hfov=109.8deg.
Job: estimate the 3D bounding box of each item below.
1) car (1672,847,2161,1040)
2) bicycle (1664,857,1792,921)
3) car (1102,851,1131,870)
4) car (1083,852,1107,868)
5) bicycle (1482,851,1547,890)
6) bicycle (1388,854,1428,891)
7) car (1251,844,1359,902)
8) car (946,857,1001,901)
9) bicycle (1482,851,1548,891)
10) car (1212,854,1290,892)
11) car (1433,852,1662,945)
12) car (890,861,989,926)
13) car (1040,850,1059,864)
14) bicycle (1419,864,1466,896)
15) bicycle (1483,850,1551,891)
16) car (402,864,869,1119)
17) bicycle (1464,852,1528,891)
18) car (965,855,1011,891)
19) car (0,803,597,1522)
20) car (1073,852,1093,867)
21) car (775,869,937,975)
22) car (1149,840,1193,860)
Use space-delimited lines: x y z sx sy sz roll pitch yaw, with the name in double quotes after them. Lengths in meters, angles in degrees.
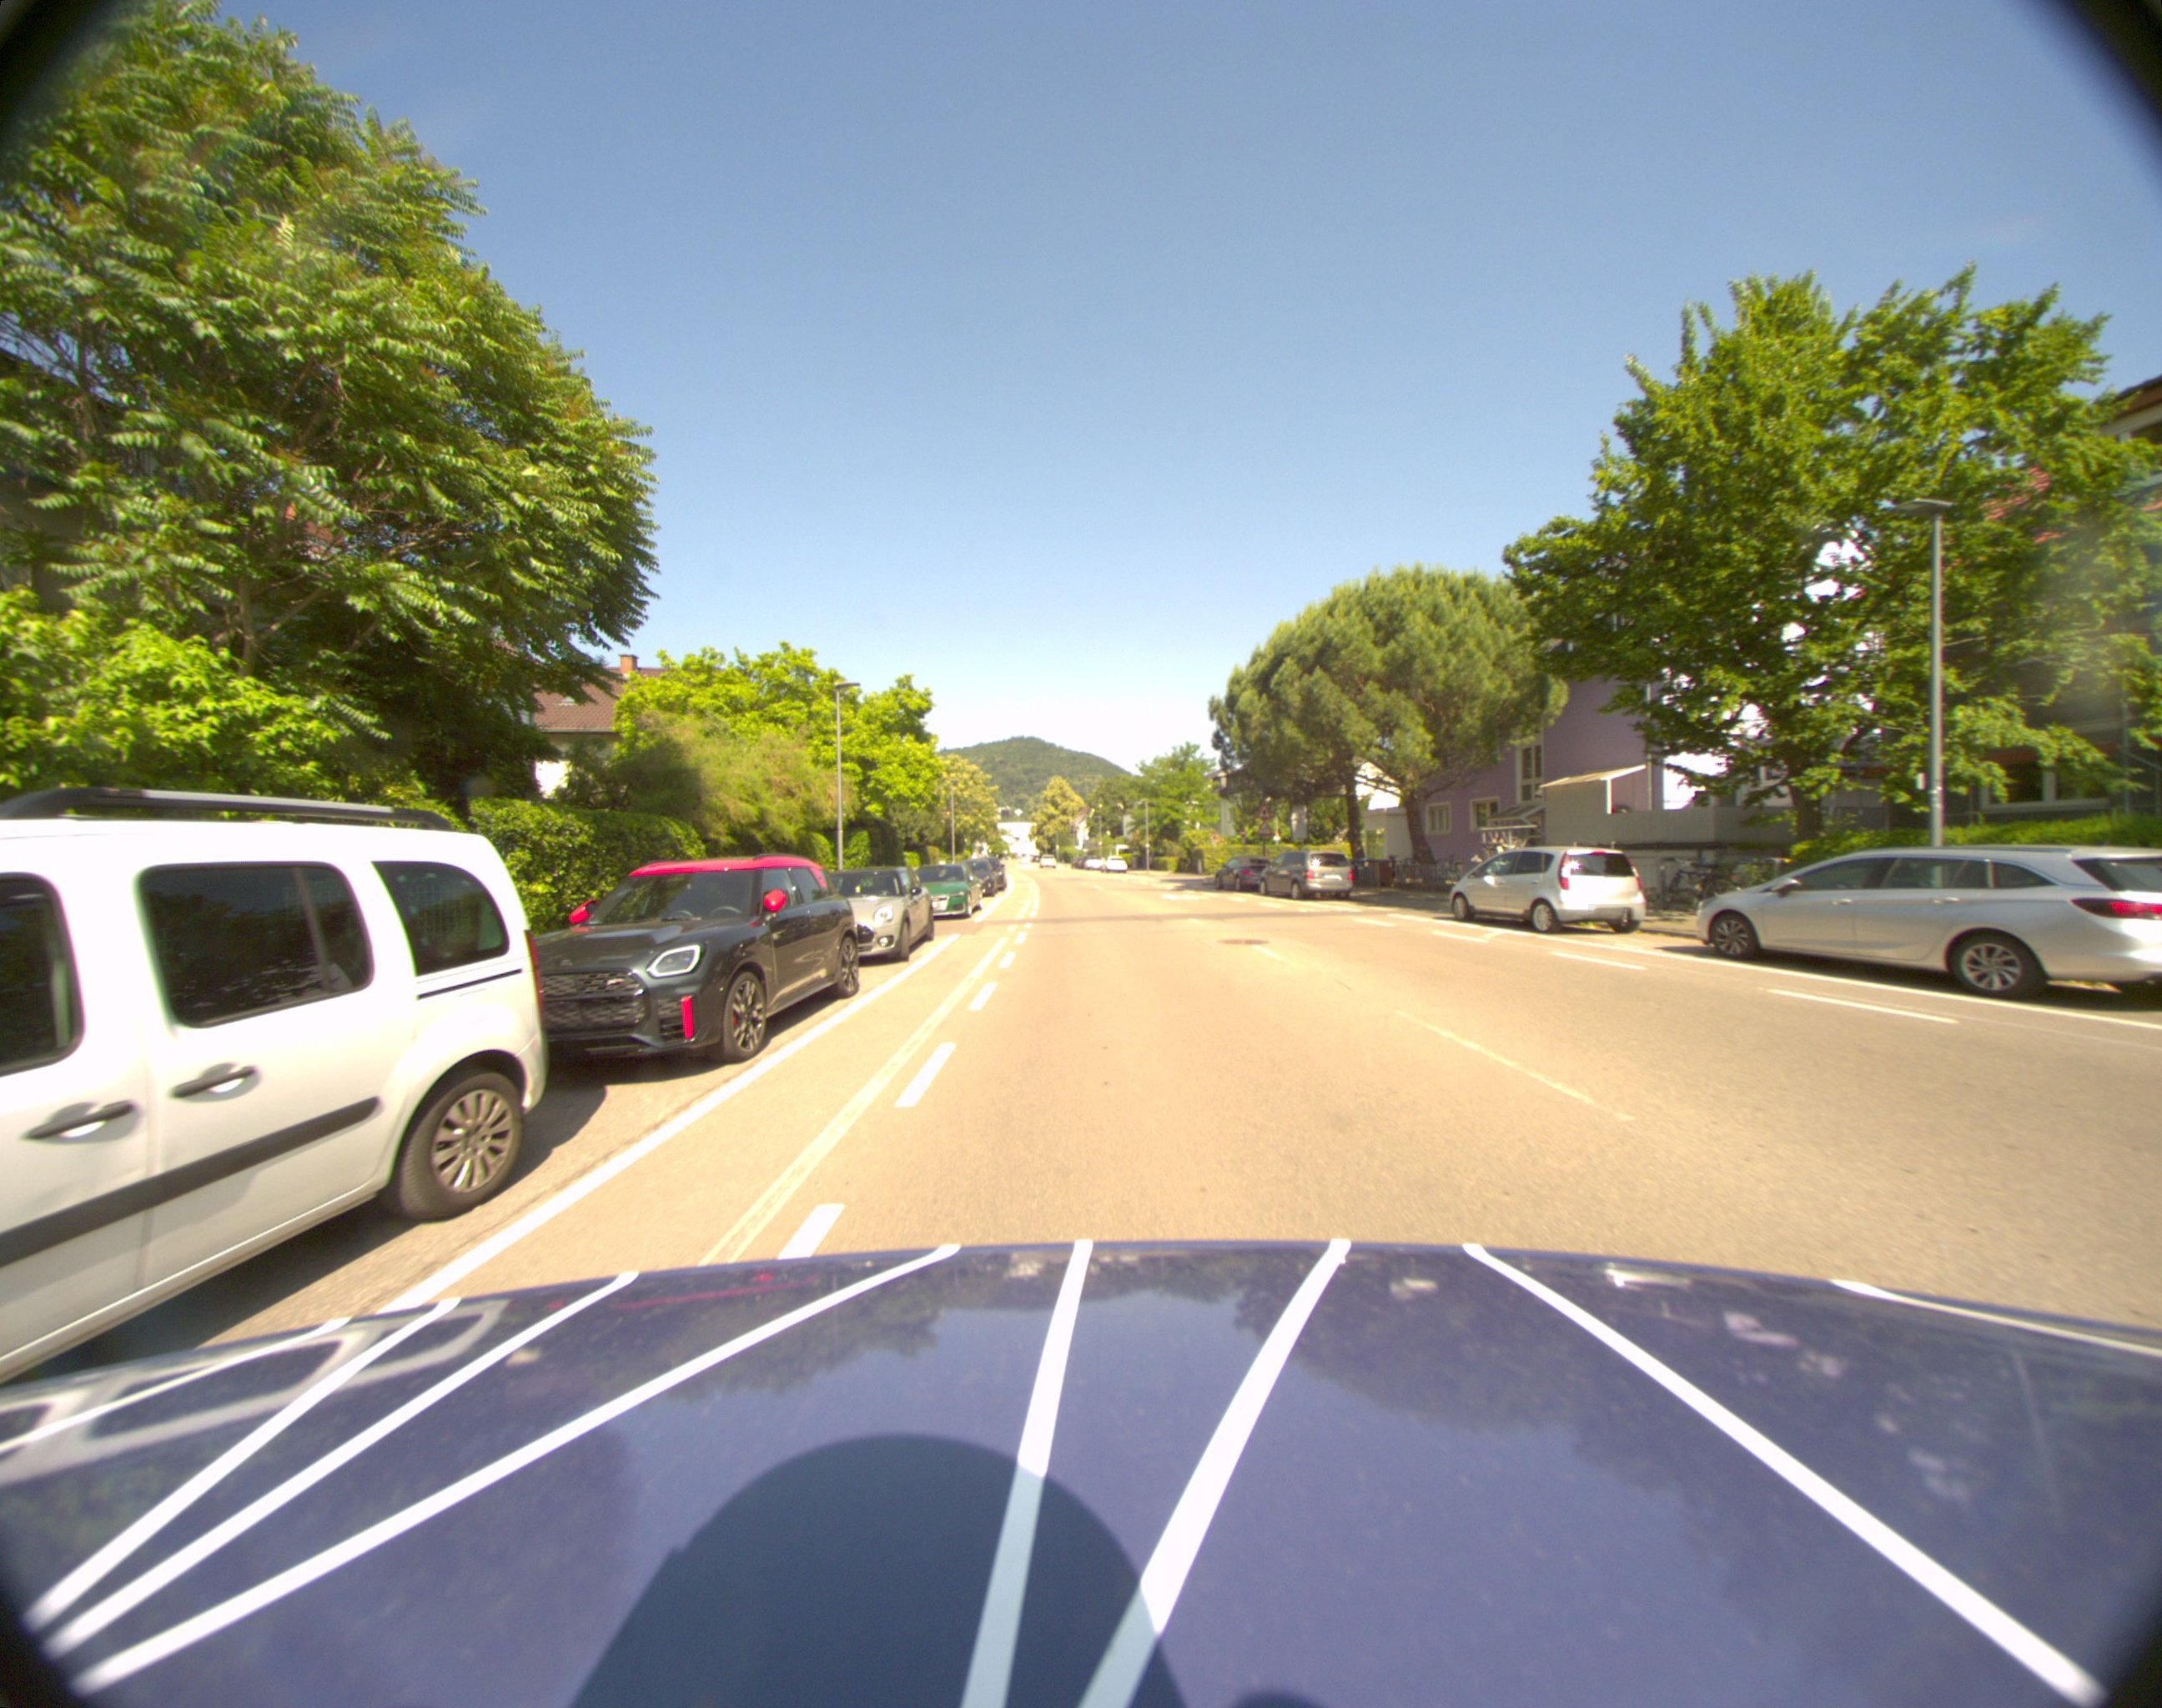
9.356 0.731 8.422 1.725 1.550 4.670 0 0 -5 "car"
12.671 0.646 14.989 0.514 1.132 2.238 -1 1 -3 "bicycle"
3.028 0.527 65.274 1.959 1.543 3.998 -1 0 -6 "car"
1.384 0.593 76.864 1.999 1.608 3.998 -1 0 -6 "car"
15.436 0.581 27.059 2.179 1.375 0.503 0 0 -9 "bicycle"
11.490 0.635 26.780 0.459 1.259 1.913 -1 1 -4 "bicycle"
7.368 0.594 25.486 1.846 1.754 4.583 0 0 -6 "car"
-4.373 0.969 31.384 1.817 1.550 3.915 -5 0 -4 "car"
15.109 0.578 26.452 2.179 1.375 0.503 0 0 -9 "bicycle"
6.816 0.737 30.953 1.846 1.449 4.191 0 0 -6 "car"
8.704 0.750 14.650 1.725 1.550 3.998 0 0 -5 "car"
-3.757 0.984 21.002 1.817 1.454 4.787 -4 0 -1 "car"
-4.003 0.401 96.478 2.006 1.803 4.762 0 0 -6 "car"
11.728 0.827 24.713 0.459 0.948 1.913 -1 0 -6 "bicycle"
14.843 0.559 25.854 2.179 1.375 0.503 0 0 -9 "bicycle"
-3.476 0.915 7.059 1.767 1.584 4.313 -1 0 0 "car"
15.038 0.619 27.537 2.179 1.375 0.502 0 0 -9 "bicycle"
-4.420 0.860 36.700 1.817 1.550 4.599 -3 0 -3 "car"
-3.651 0.822 1.943 1.767 1.816 4.597 -3 1 0 "car"
0.204 0.602 87.620 1.999 1.674 3.998 -1 0 -6 "car"
-3.550 0.997 12.749 1.767 1.435 4.067 0 0 -4 "car"
8.318 -0.356 70.738 3.995 1.805 2.001 0 0 4 "car"
